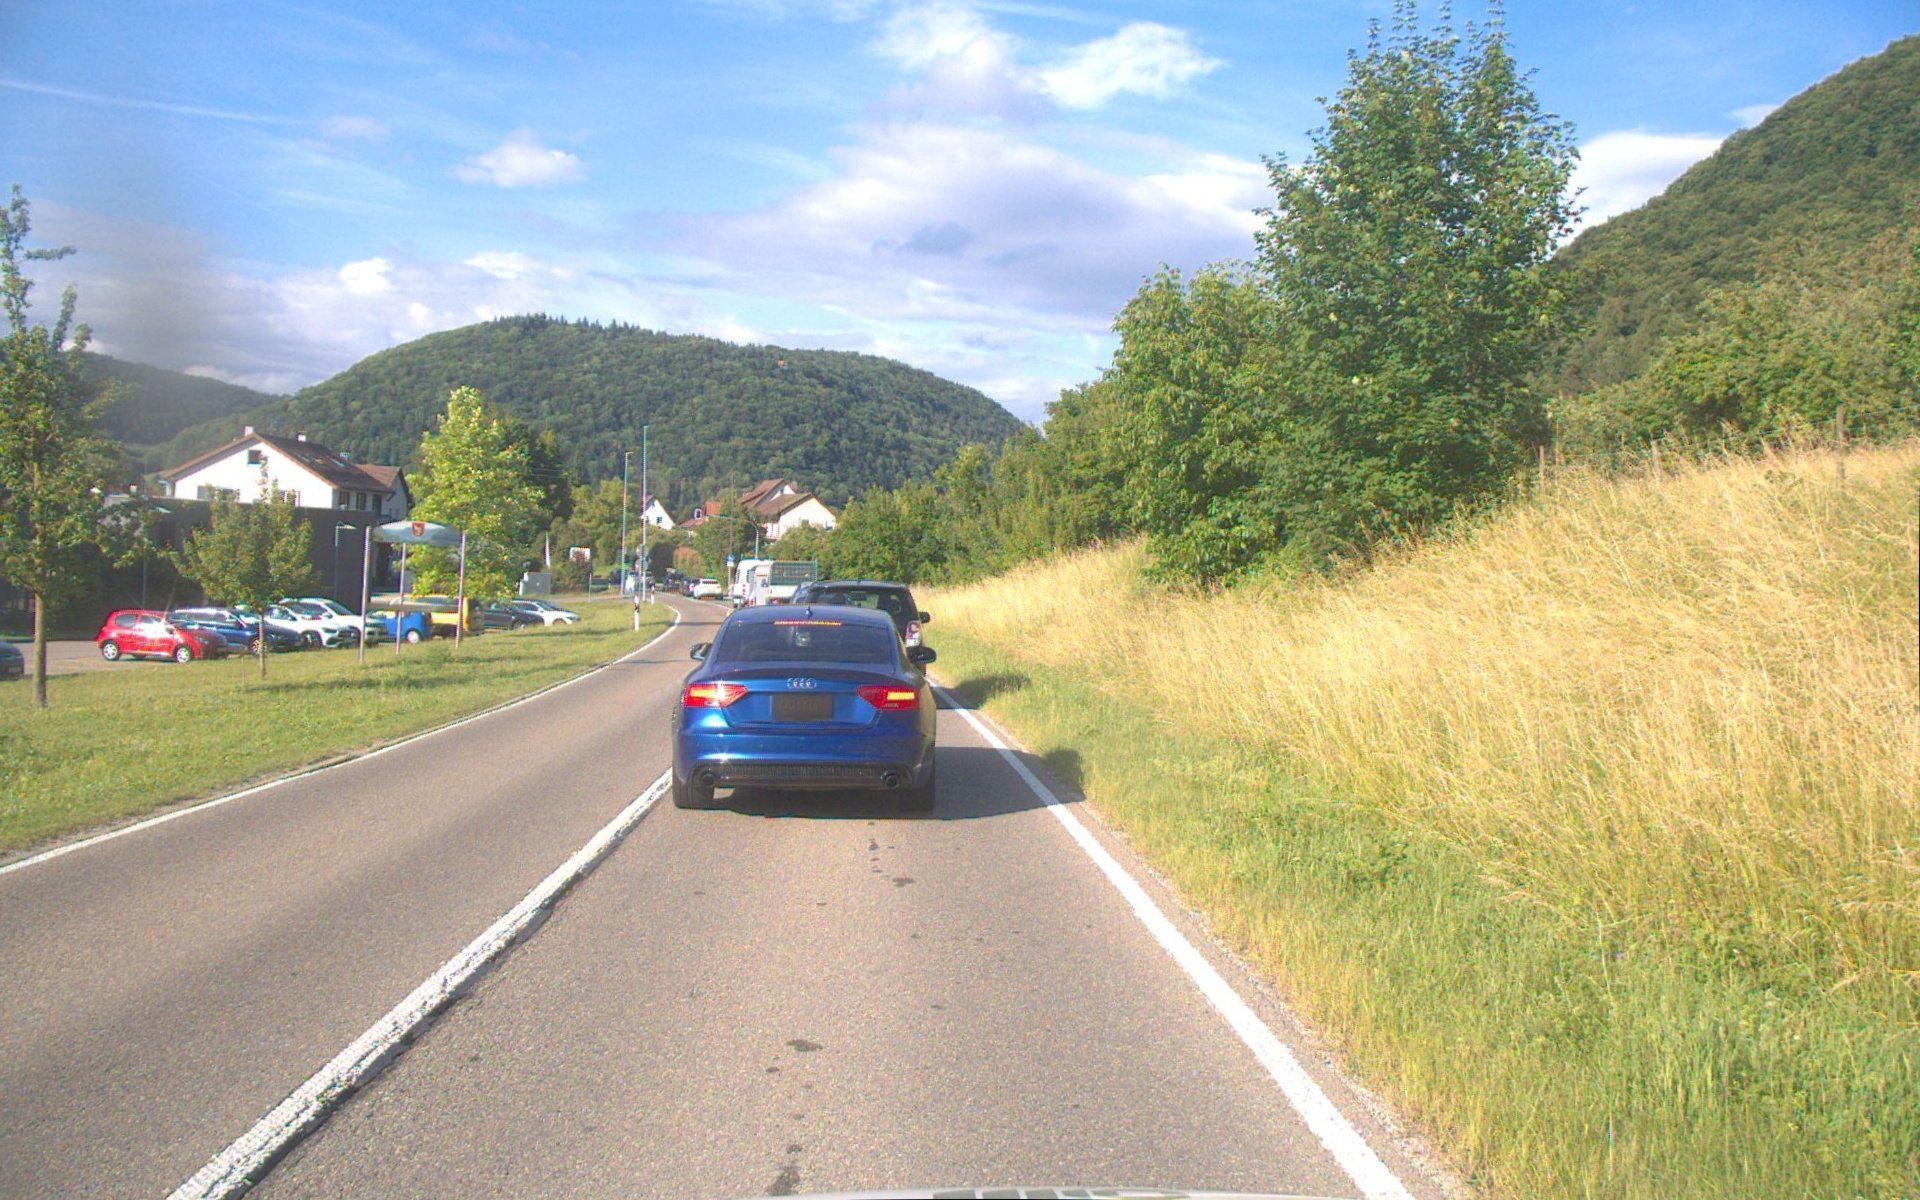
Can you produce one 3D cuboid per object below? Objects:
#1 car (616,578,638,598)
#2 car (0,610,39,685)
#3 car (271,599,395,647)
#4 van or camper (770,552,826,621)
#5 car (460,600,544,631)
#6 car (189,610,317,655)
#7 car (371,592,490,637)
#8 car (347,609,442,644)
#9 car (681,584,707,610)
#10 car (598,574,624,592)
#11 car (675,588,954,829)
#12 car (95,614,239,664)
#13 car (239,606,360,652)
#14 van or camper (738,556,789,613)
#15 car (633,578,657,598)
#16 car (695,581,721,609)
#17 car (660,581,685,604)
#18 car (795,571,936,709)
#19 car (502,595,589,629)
[{"bbox_3d":[-33.992,-1.231,168.624,1.652,1.958,3.977,0,0,-19],"label":"car"},{"bbox_3d":[-24.486,1.122,39.766,3.737,1.752,1.733,0,0,4],"label":"car"},{"bbox_3d":[-23.236,0.842,61.375,3.991,1.702,1.598,0,1,5],"label":"car"},{"bbox_3d":[-6.341,-0.508,64.263,2.013,2.549,5.802,0,0,-7],"label":"van or camper"},{"bbox_3d":[-22.160,0.743,80.036,3.634,1.464,1.510,0,0,5],"label":"car"},{"bbox_3d":[-23.413,1.073,54.849,3.548,1.429,1.598,0,1,5],"label":"car"},{"bbox_3d":[-22.418,0.597,70.088,4.457,1.846,1.842,0,0,5],"label":"car"},{"bbox_3d":[-23.042,1.070,67.456,3.301,1.397,1.659,0,0,-3],"label":"car"},{"bbox_3d":[-20.265,-0.232,125.864,1.631,1.958,3.985,0,0,-14],"label":"car"},{"bbox_3d":[-37.297,-1.811,176.501,1.929,1.958,3.970,0,0,-24],"label":"car"},{"bbox_3d":[-1.033,0.675,12.103,1.708,1.476,3.514,1,0,-4],"label":"car"},{"bbox_3d":[-23.865,1.159,49.835,3.548,1.469,1.649,0,0,5],"label":"car"},{"bbox_3d":[-23.194,0.996,58.168,3.588,1.519,1.598,0,2,5],"label":"car"},{"bbox_3d":[-10.045,-0.764,84.144,2.239,2.761,5.753,0,0,-10],"label":"van or camper"},{"bbox_3d":[-30.518,-1.154,160.321,1.652,1.958,3.976,0,0,-20],"label":"car"},{"bbox_3d":[-17.840,-0.335,117.018,1.630,1.958,3.988,0,0,-12],"label":"car"},{"bbox_3d":[-25.164,-0.670,144.661,1.651,1.958,3.979,0,0,-18],"label":"car"},{"bbox_3d":[-1.338,0.485,22.110,1.614,1.653,3.511,2,0,-7],"label":"car"},{"bbox_3d":[-21.166,0.609,84.540,3.950,1.689,1.657,0,0,5],"label":"car"}]
